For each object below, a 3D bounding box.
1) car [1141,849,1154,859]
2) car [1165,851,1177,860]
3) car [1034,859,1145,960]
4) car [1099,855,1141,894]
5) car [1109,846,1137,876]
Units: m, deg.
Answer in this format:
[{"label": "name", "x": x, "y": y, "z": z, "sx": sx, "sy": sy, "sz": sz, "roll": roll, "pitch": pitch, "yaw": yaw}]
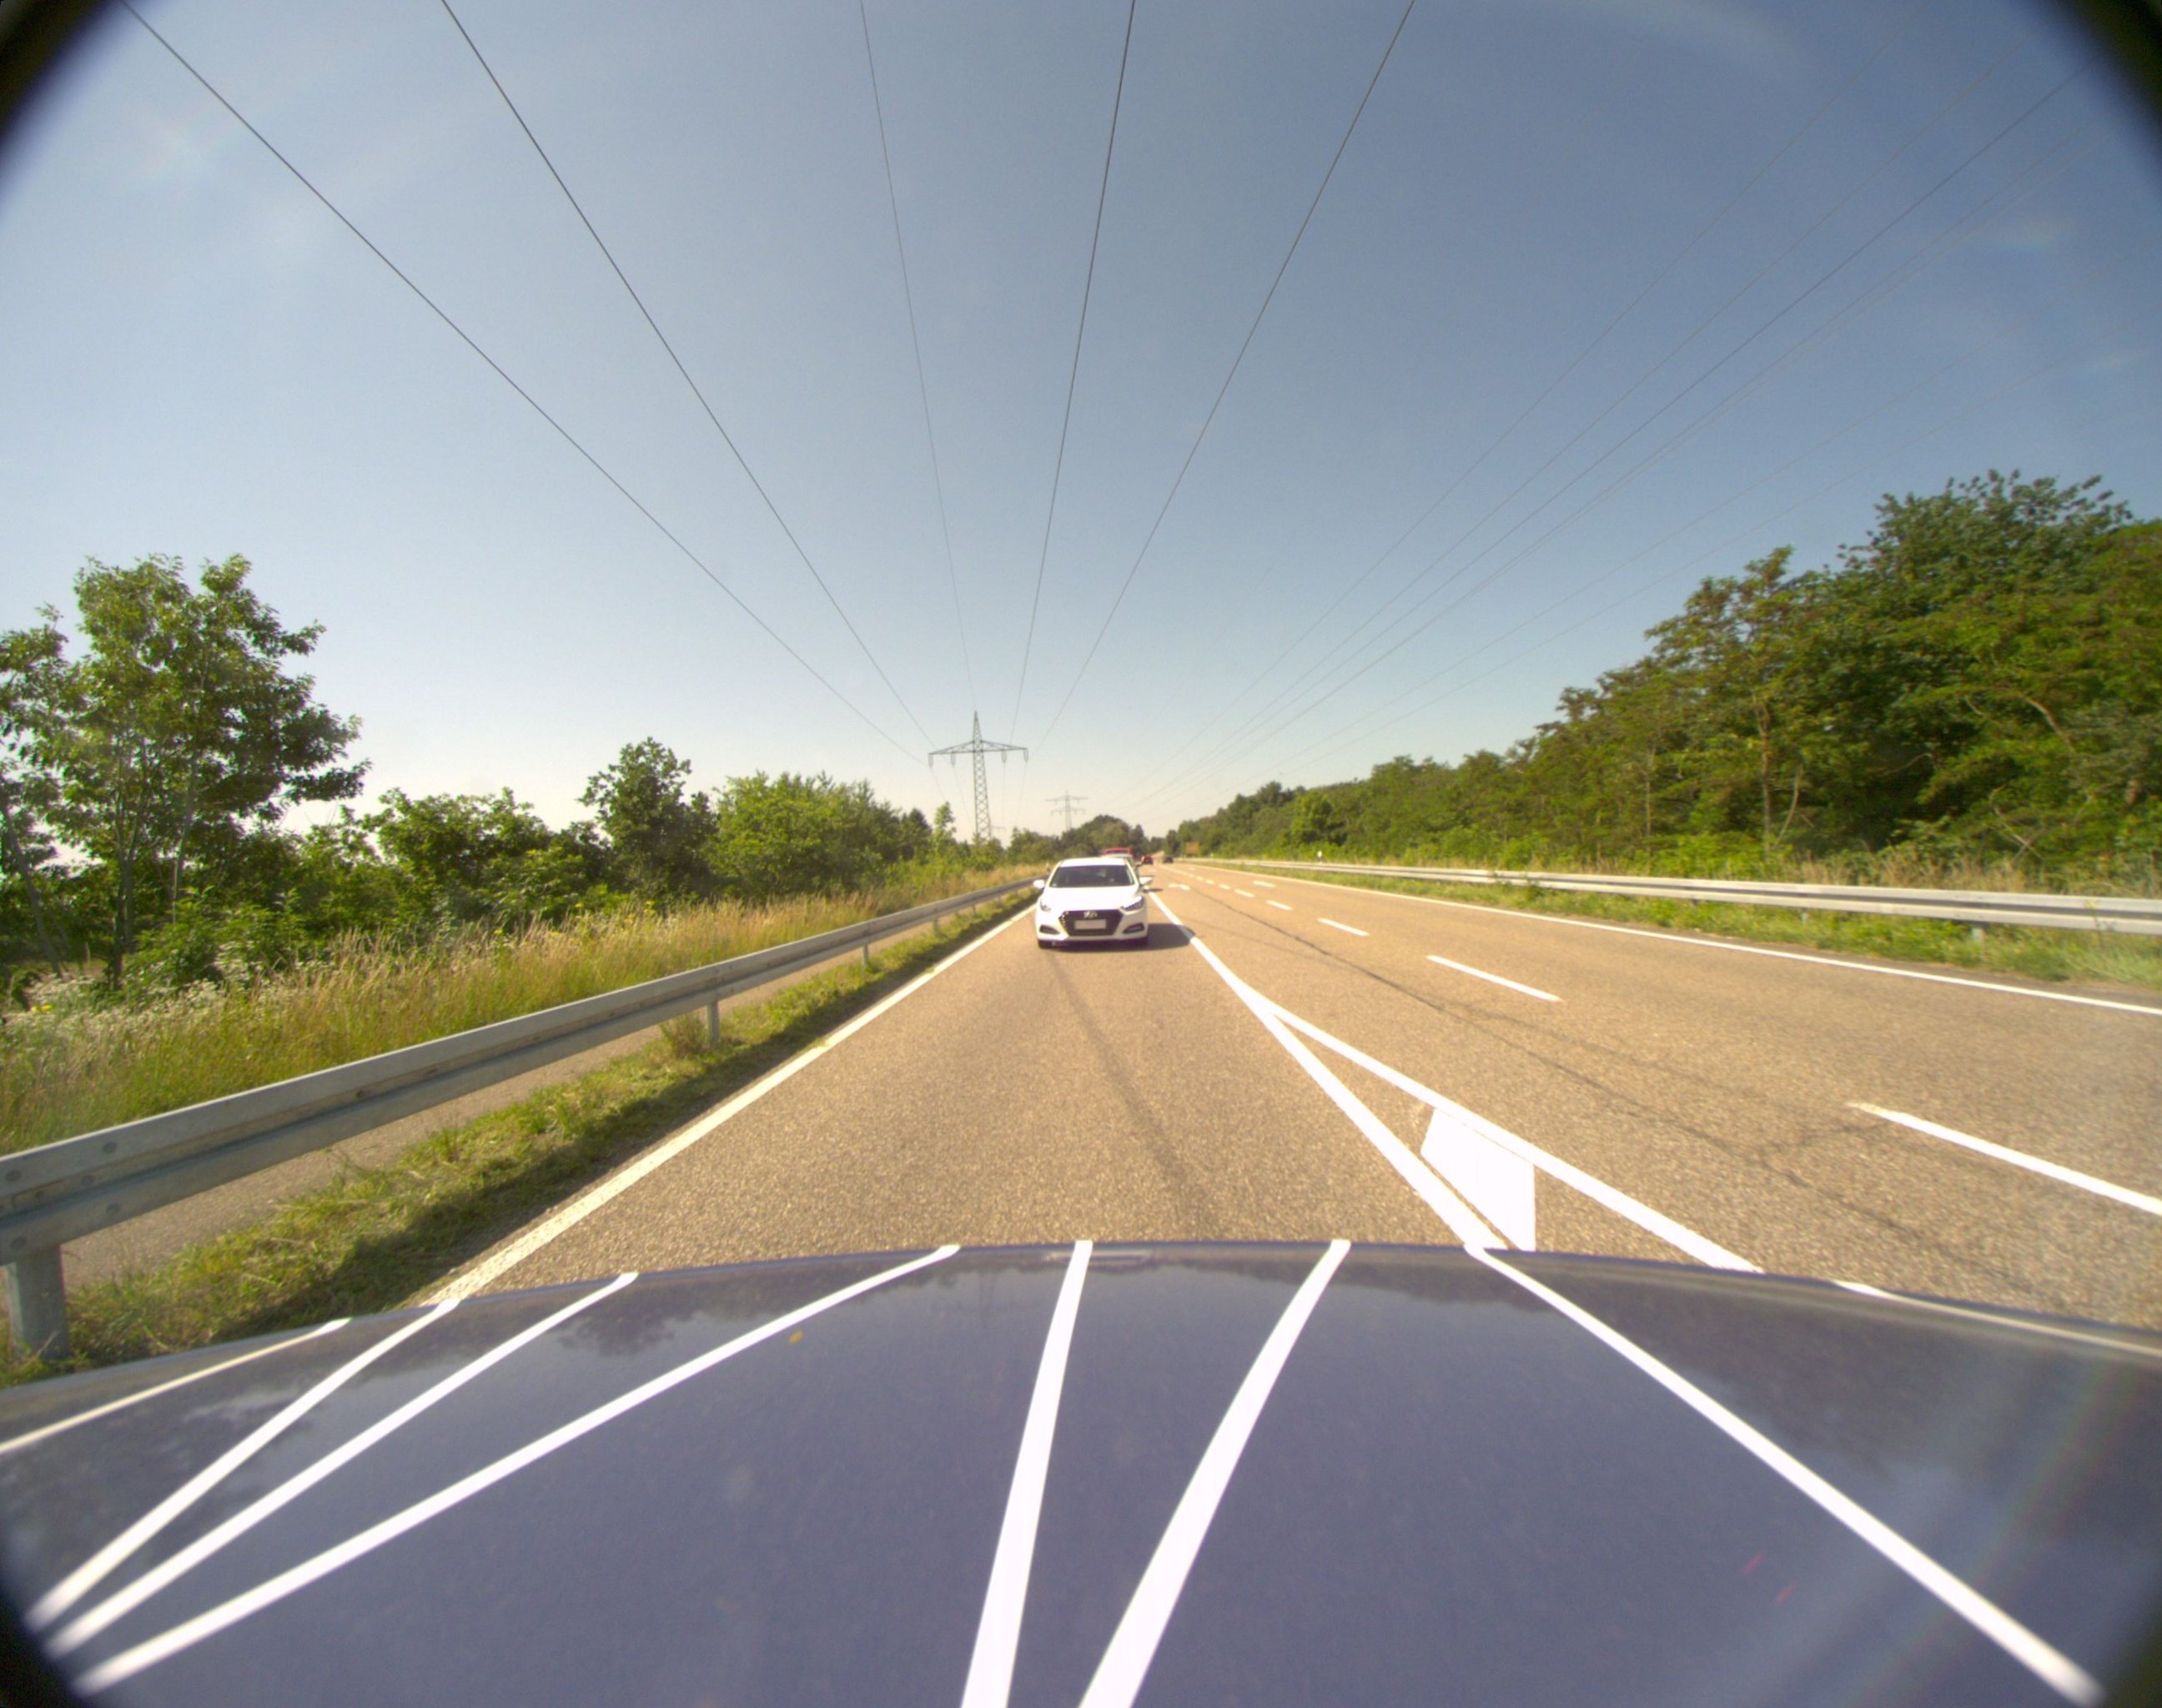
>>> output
[{"label": "car", "x": 10.319, "y": 0.041, "z": 118.416, "sx": 1.731, "sy": 1.482, "sz": 4.423, "roll": -2, "pitch": 0, "yaw": 2}, {"label": "car", "x": 15.506, "y": 0.179, "z": 131.430, "sx": 1.663, "sy": 1.433, "sz": 4.215, "roll": -2, "pitch": 0, "yaw": 3}, {"label": "car", "x": 0.245, "y": 0.876, "z": 13.943, "sx": 1.683, "sy": 1.472, "sz": 4.474, "roll": -1, "pitch": 0, "yaw": 3}, {"label": "car", "x": 1.581, "y": 0.801, "z": 31.052, "sx": 1.549, "sy": 1.460, "sz": 3.661, "roll": -2, "pitch": 0, "yaw": 2}, {"label": "car", "x": 2.860, "y": 0.467, "z": 52.167, "sx": 1.794, "sy": 1.892, "sz": 4.838, "roll": -2, "pitch": 0, "yaw": 2}]
